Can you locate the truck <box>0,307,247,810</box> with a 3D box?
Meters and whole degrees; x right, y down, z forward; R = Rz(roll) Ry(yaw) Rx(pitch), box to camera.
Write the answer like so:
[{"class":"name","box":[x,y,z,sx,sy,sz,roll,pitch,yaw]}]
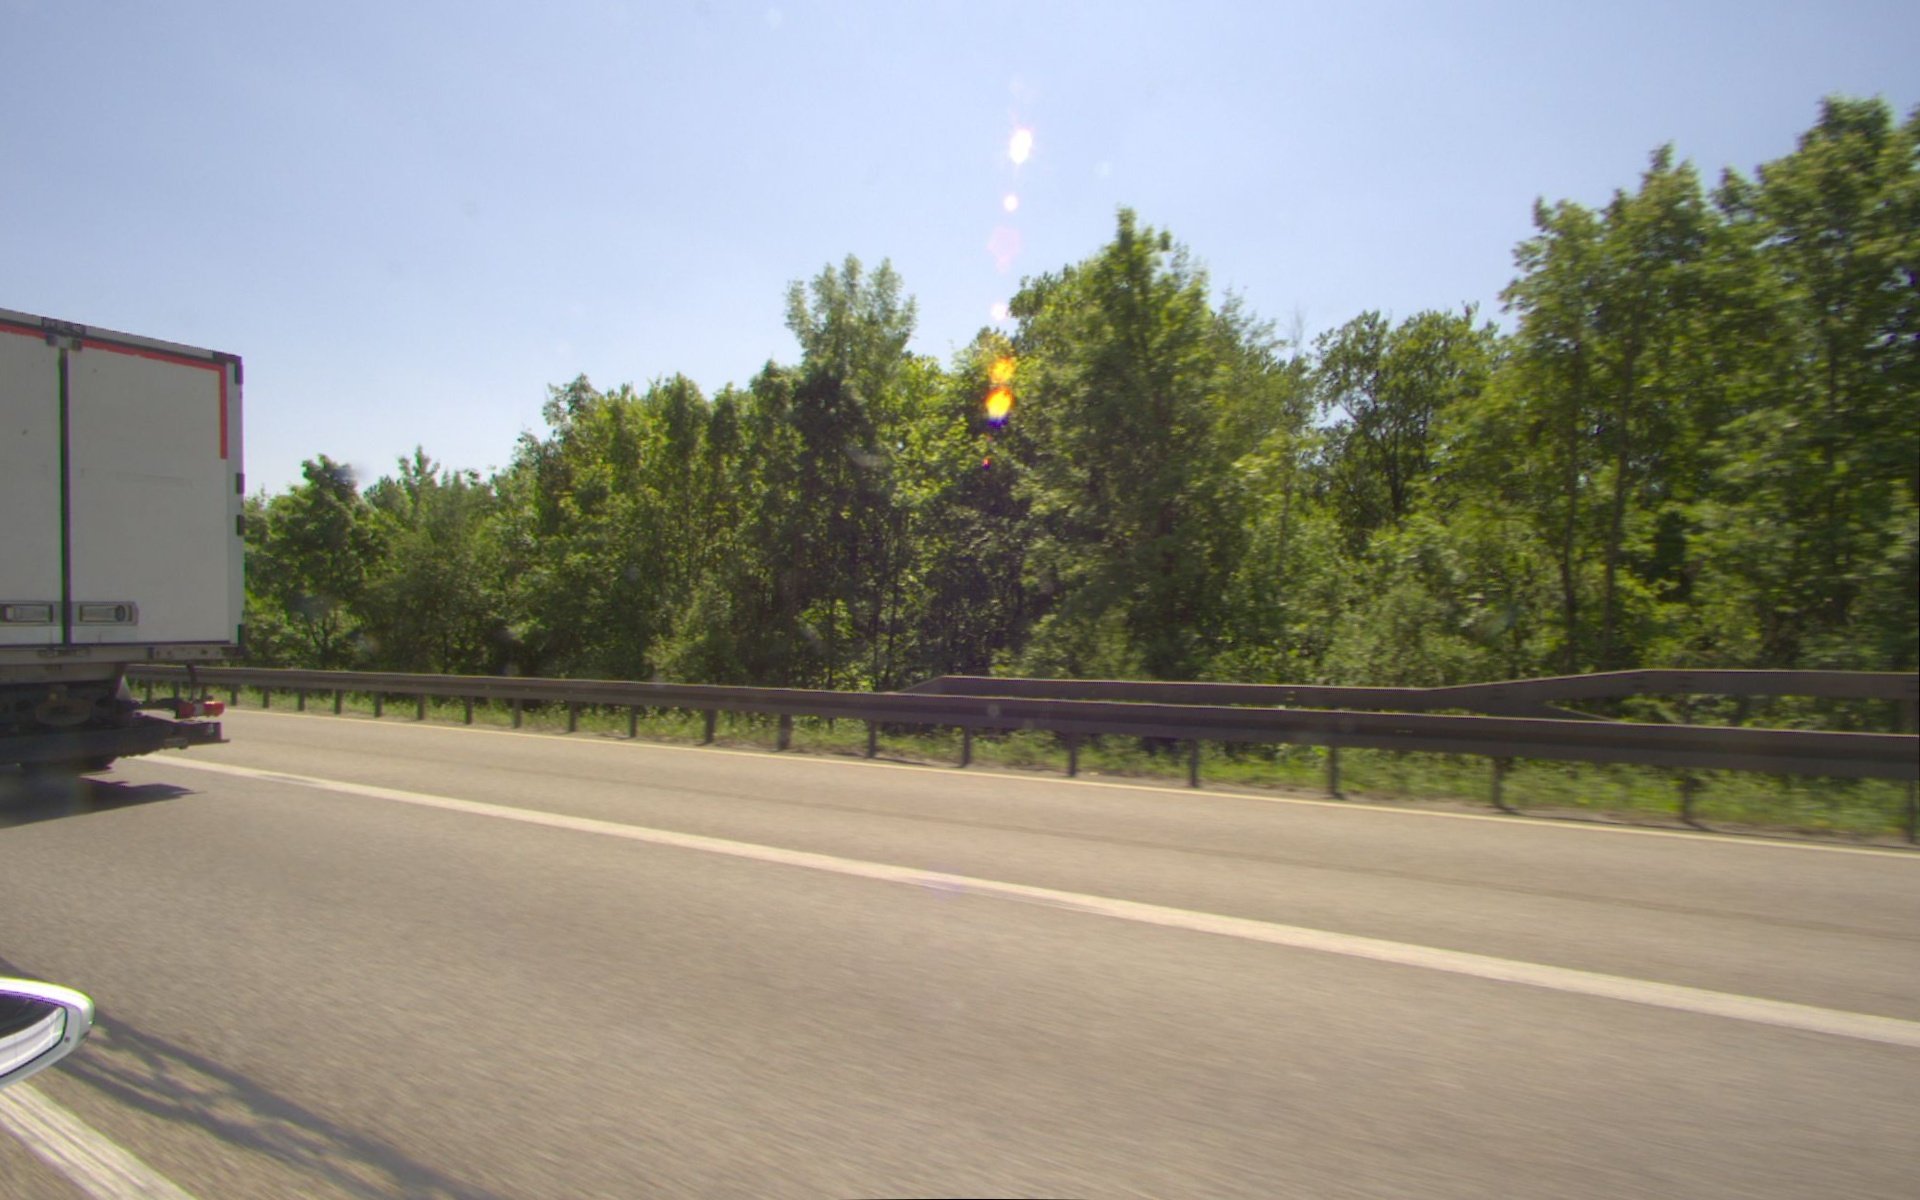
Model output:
[{"class":"truck","box":[-11.378,-0.257,10.689,9.640,3.927,2.683,-1,0,32]}]
